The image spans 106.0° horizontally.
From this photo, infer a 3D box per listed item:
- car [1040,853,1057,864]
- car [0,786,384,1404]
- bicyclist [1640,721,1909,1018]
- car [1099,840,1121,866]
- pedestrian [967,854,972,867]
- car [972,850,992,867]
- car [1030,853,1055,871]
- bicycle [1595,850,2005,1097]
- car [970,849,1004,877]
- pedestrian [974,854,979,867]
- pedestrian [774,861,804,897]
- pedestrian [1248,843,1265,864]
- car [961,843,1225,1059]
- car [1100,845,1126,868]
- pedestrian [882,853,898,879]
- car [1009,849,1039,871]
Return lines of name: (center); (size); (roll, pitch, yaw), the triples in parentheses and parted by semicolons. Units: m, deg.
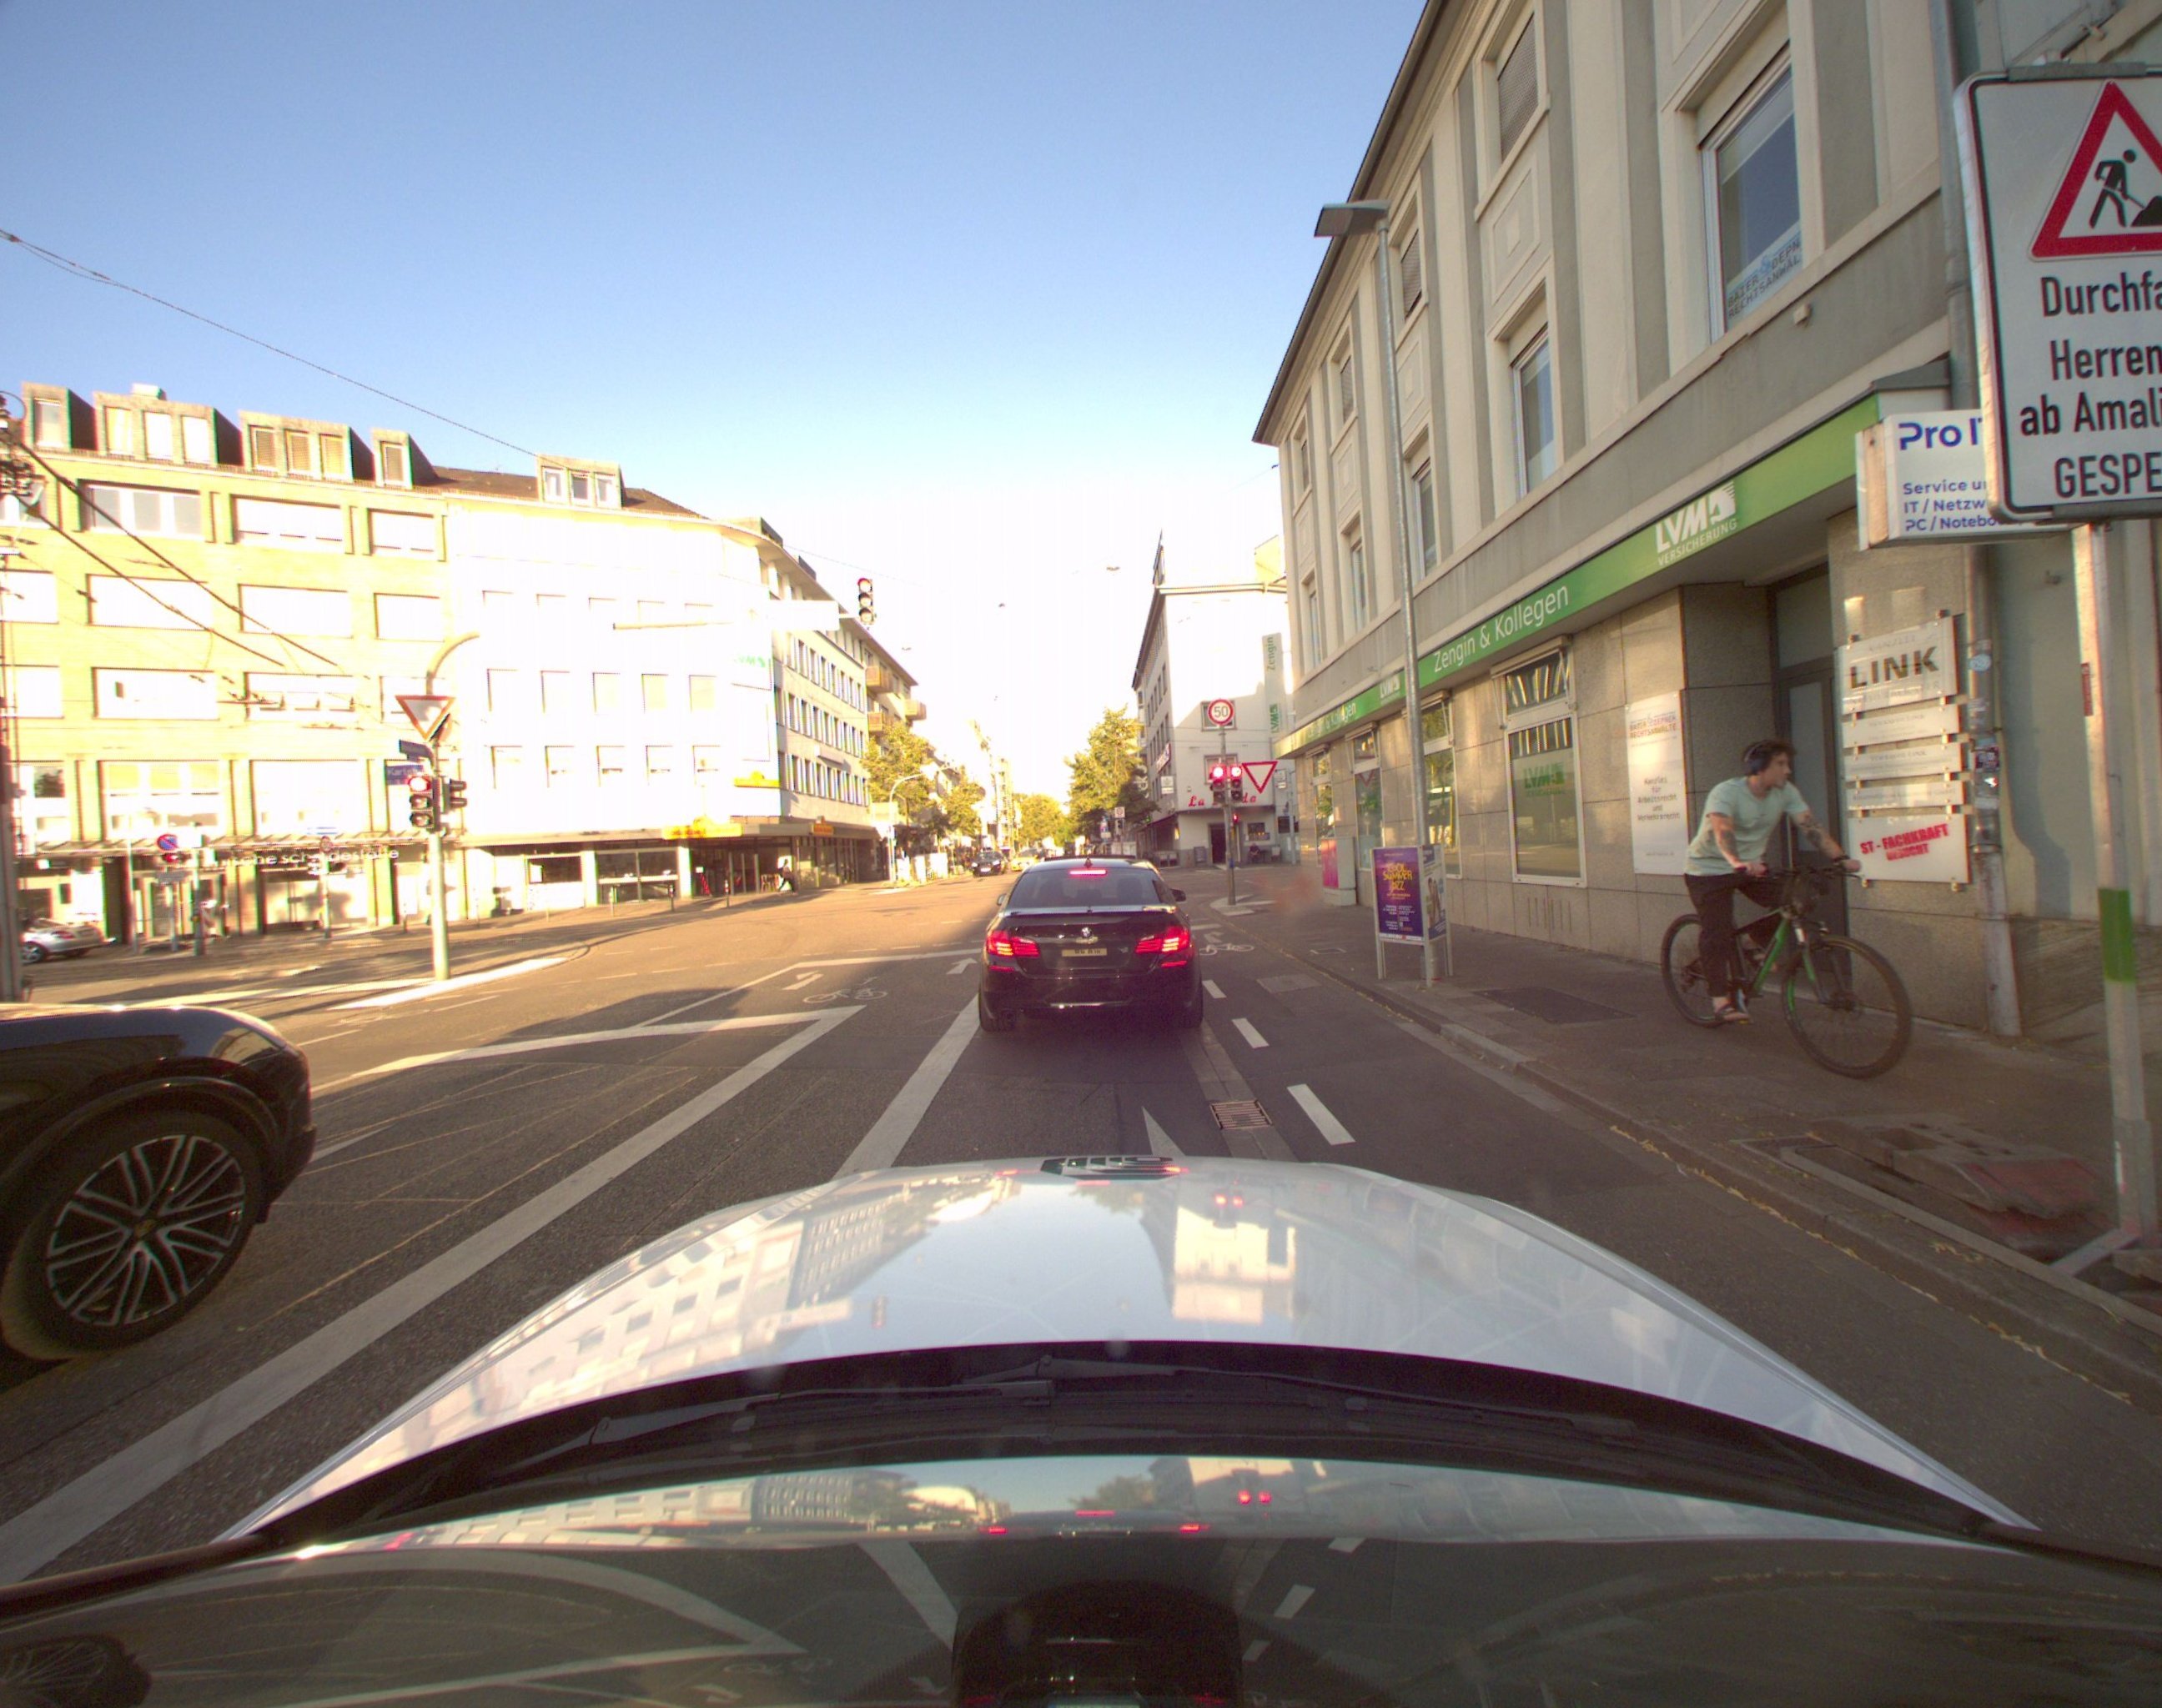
car: (-3.903, 0.523, 96.774); (1.731, 1.293, 3.993); (-3, 0, -5)
car: (-4.003, 0.736, 1.180); (1.943, 1.714, 4.561); (-4, 1, 0)
bicyclist: (3.908, 0.078, 4.680); (0.719, 1.507, 0.900); (-3, 0, 2)
car: (2.183, -0.047, 61.544); (1.417, 1.854, 3.050); (-2, 0, -2)
pedestrian: (-12.403, 0.725, 90.529); (0.443, 1.416, 0.525); (-3, 0, -2)
car: (-9.694, 0.432, 79.865); (1.731, 1.461, 3.993); (-3, 0, -5)
car: (-3.121, 0.630, 65.119); (1.731, 1.293, 3.993); (-3, 0, -5)
bicycle: (3.943, 0.552, 4.737); (0.688, 1.107, 1.896); (-3, 0, 1)
car: (-6.062, 0.568, 52.967); (1.990, 1.618, 3.993); (-3, 0, -5)
pedestrian: (-11.739, 0.702, 91.512); (0.443, 1.416, 0.525); (-3, 0, -2)
pedestrian: (-12.941, 1.100, 36.126); (0.953, 1.537, 0.898); (-3, 0, -36)
pedestrian: (10.061, -0.045, 46.653); (0.695, 1.157, 0.843); (-3, 0, -1)
car: (0.078, 0.685, 8.156); (1.898, 1.540, 4.448); (-1, 0, -1)
car: (2.153, 0.151, 55.140); (1.620, 1.471, 3.394); (-2, 0, 0)
pedestrian: (-13.032, 0.821, 55.568); (0.821, 1.676, 0.871); (-3, 0, -1)
car: (-4.105, 0.426, 58.367); (1.990, 1.442, 3.993); (-3, 0, -5)
